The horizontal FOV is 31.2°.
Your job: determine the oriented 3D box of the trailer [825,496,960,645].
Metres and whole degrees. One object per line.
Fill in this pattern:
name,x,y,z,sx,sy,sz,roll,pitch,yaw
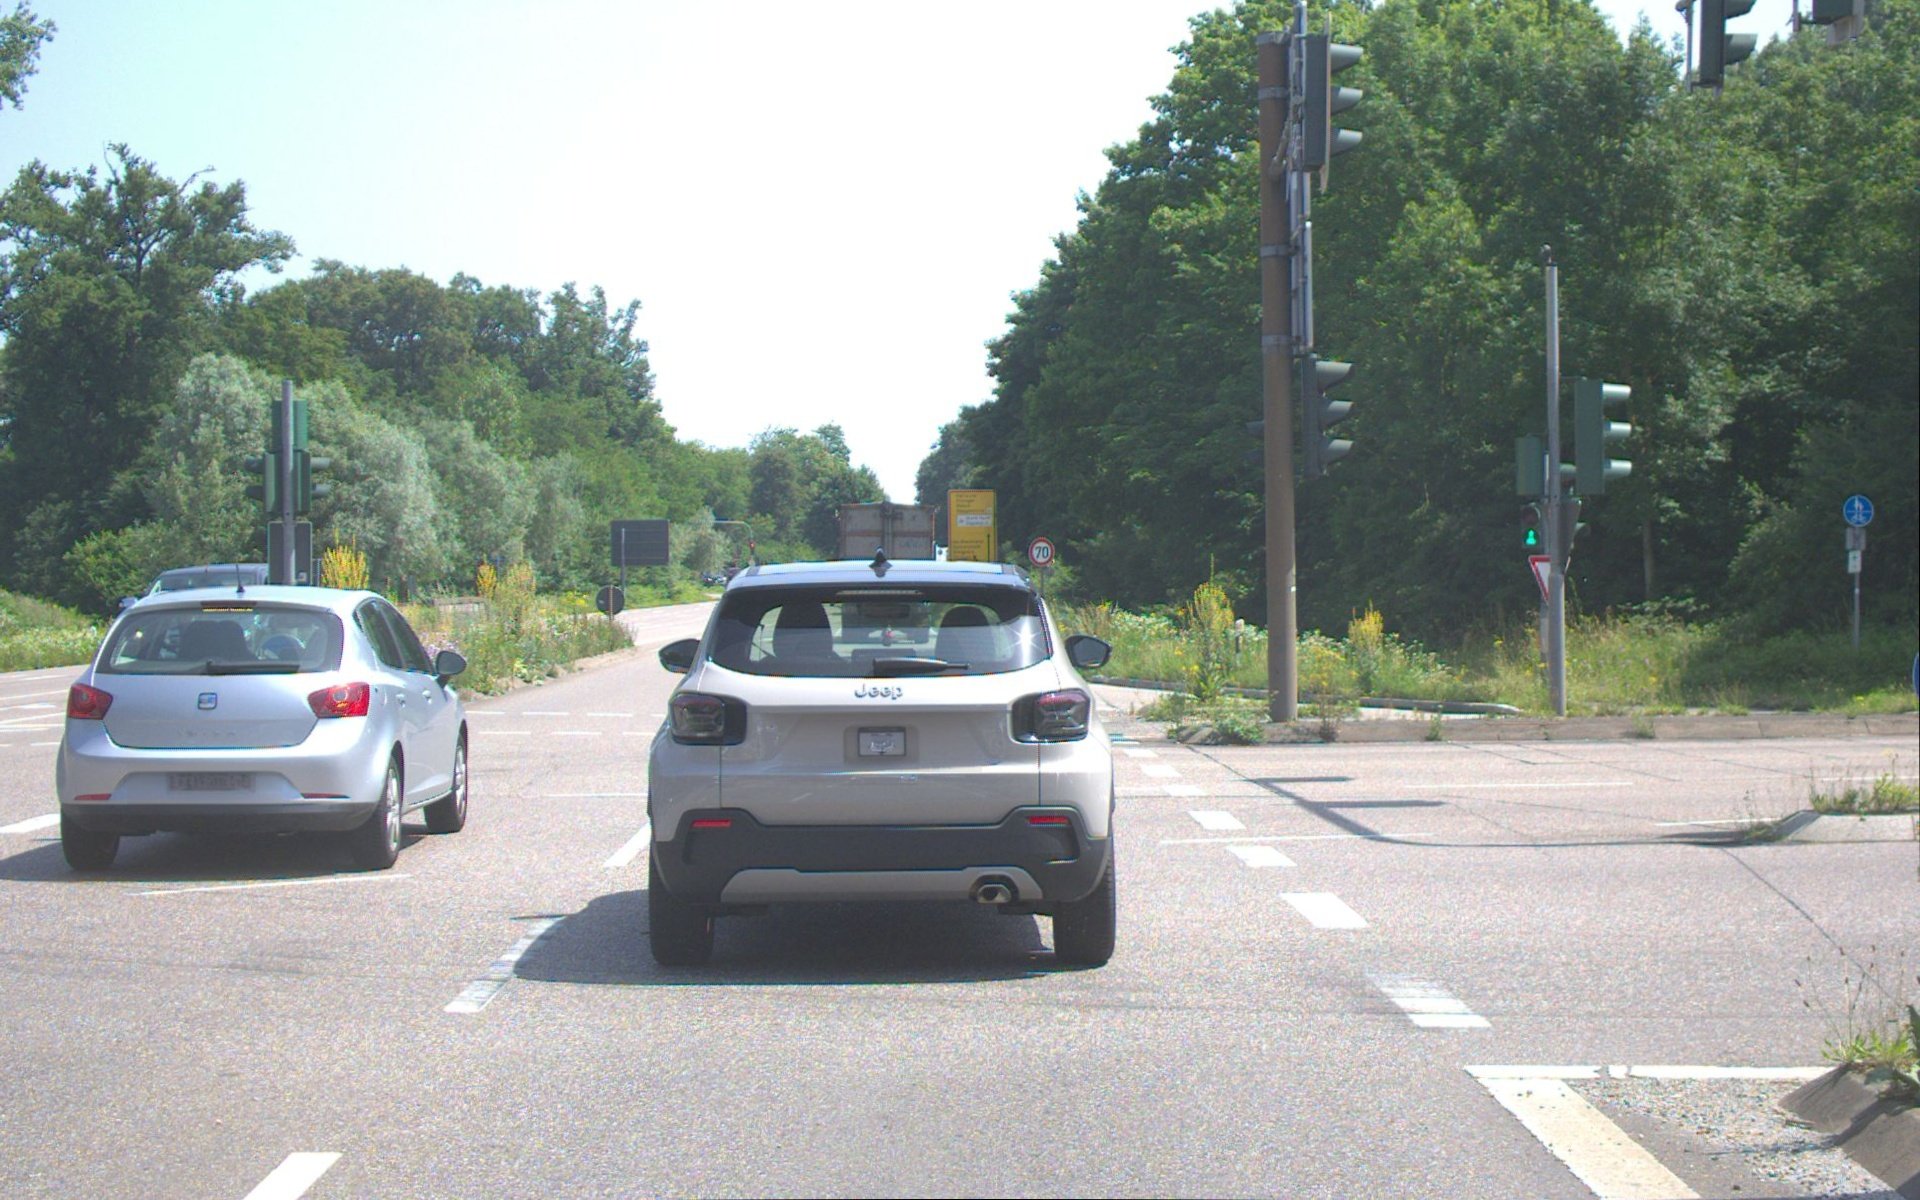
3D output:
trailer,-1.831,-0.799,98.459,3.383,3.975,10.803,1,0,1

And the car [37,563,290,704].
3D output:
car,-10.305,0.387,44.891,1.993,1.672,5.365,-2,0,0

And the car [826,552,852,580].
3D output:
car,-9.236,-2.598,262.529,1.774,2.007,4.000,-2,1,0

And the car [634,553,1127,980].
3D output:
car,-0.280,0.582,14.344,1.767,1.529,4.000,0,0,0

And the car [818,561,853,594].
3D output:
car,-7.903,-1.446,218.695,1.993,2.007,4.554,-1,0,0

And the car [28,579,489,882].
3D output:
car,-3.635,0.617,18.445,1.666,1.425,3.828,1,0,0
